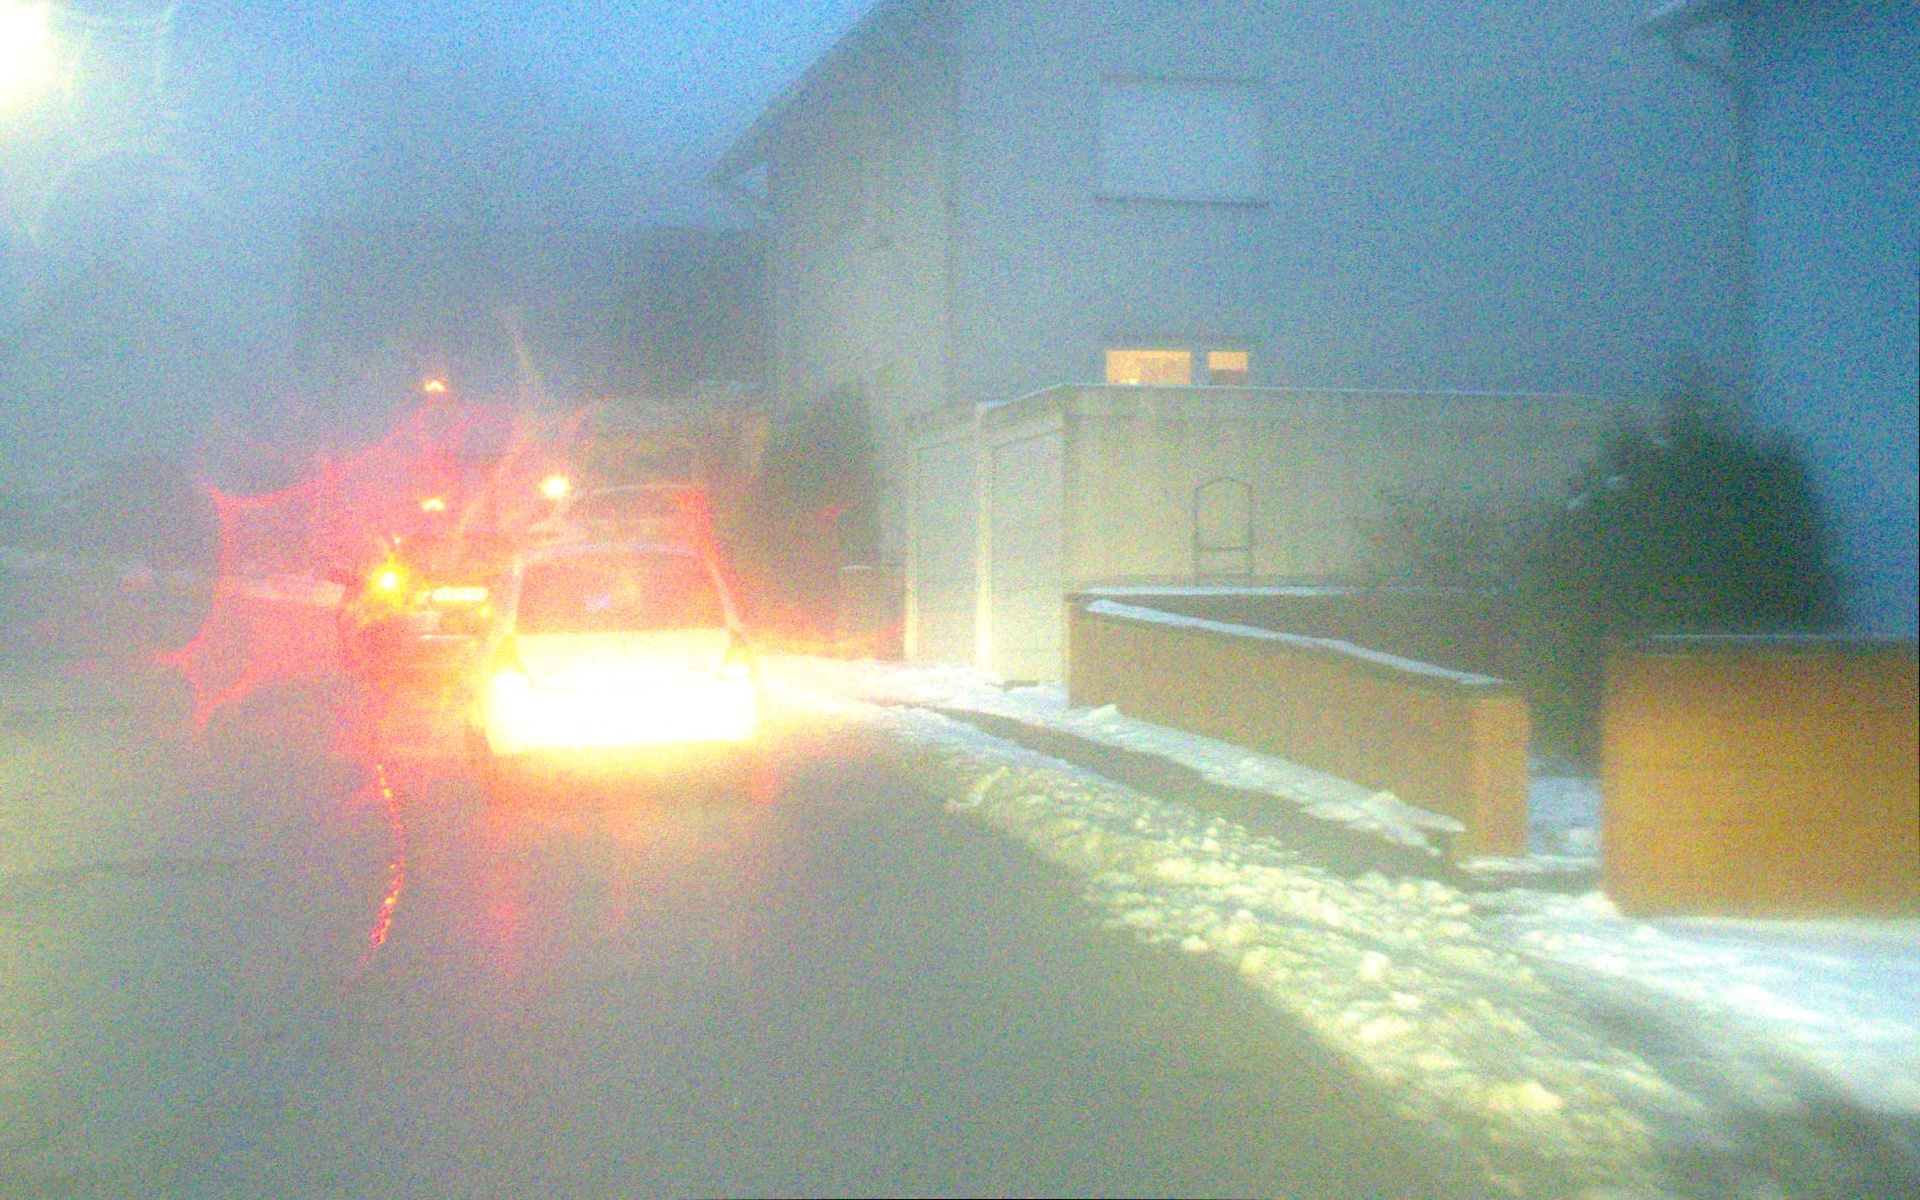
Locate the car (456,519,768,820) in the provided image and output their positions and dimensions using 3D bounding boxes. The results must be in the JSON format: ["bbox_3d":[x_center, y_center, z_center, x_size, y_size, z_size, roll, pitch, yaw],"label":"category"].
[{"bbox_3d":[-2.069,0.403,20.668,1.645,1.590,3.700,2,-1,-5],"label":"car"}]

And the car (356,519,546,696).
[{"bbox_3d":[-5.063,0.085,33.889,1.645,1.590,3.700,2,-1,-11],"label":"car"}]
